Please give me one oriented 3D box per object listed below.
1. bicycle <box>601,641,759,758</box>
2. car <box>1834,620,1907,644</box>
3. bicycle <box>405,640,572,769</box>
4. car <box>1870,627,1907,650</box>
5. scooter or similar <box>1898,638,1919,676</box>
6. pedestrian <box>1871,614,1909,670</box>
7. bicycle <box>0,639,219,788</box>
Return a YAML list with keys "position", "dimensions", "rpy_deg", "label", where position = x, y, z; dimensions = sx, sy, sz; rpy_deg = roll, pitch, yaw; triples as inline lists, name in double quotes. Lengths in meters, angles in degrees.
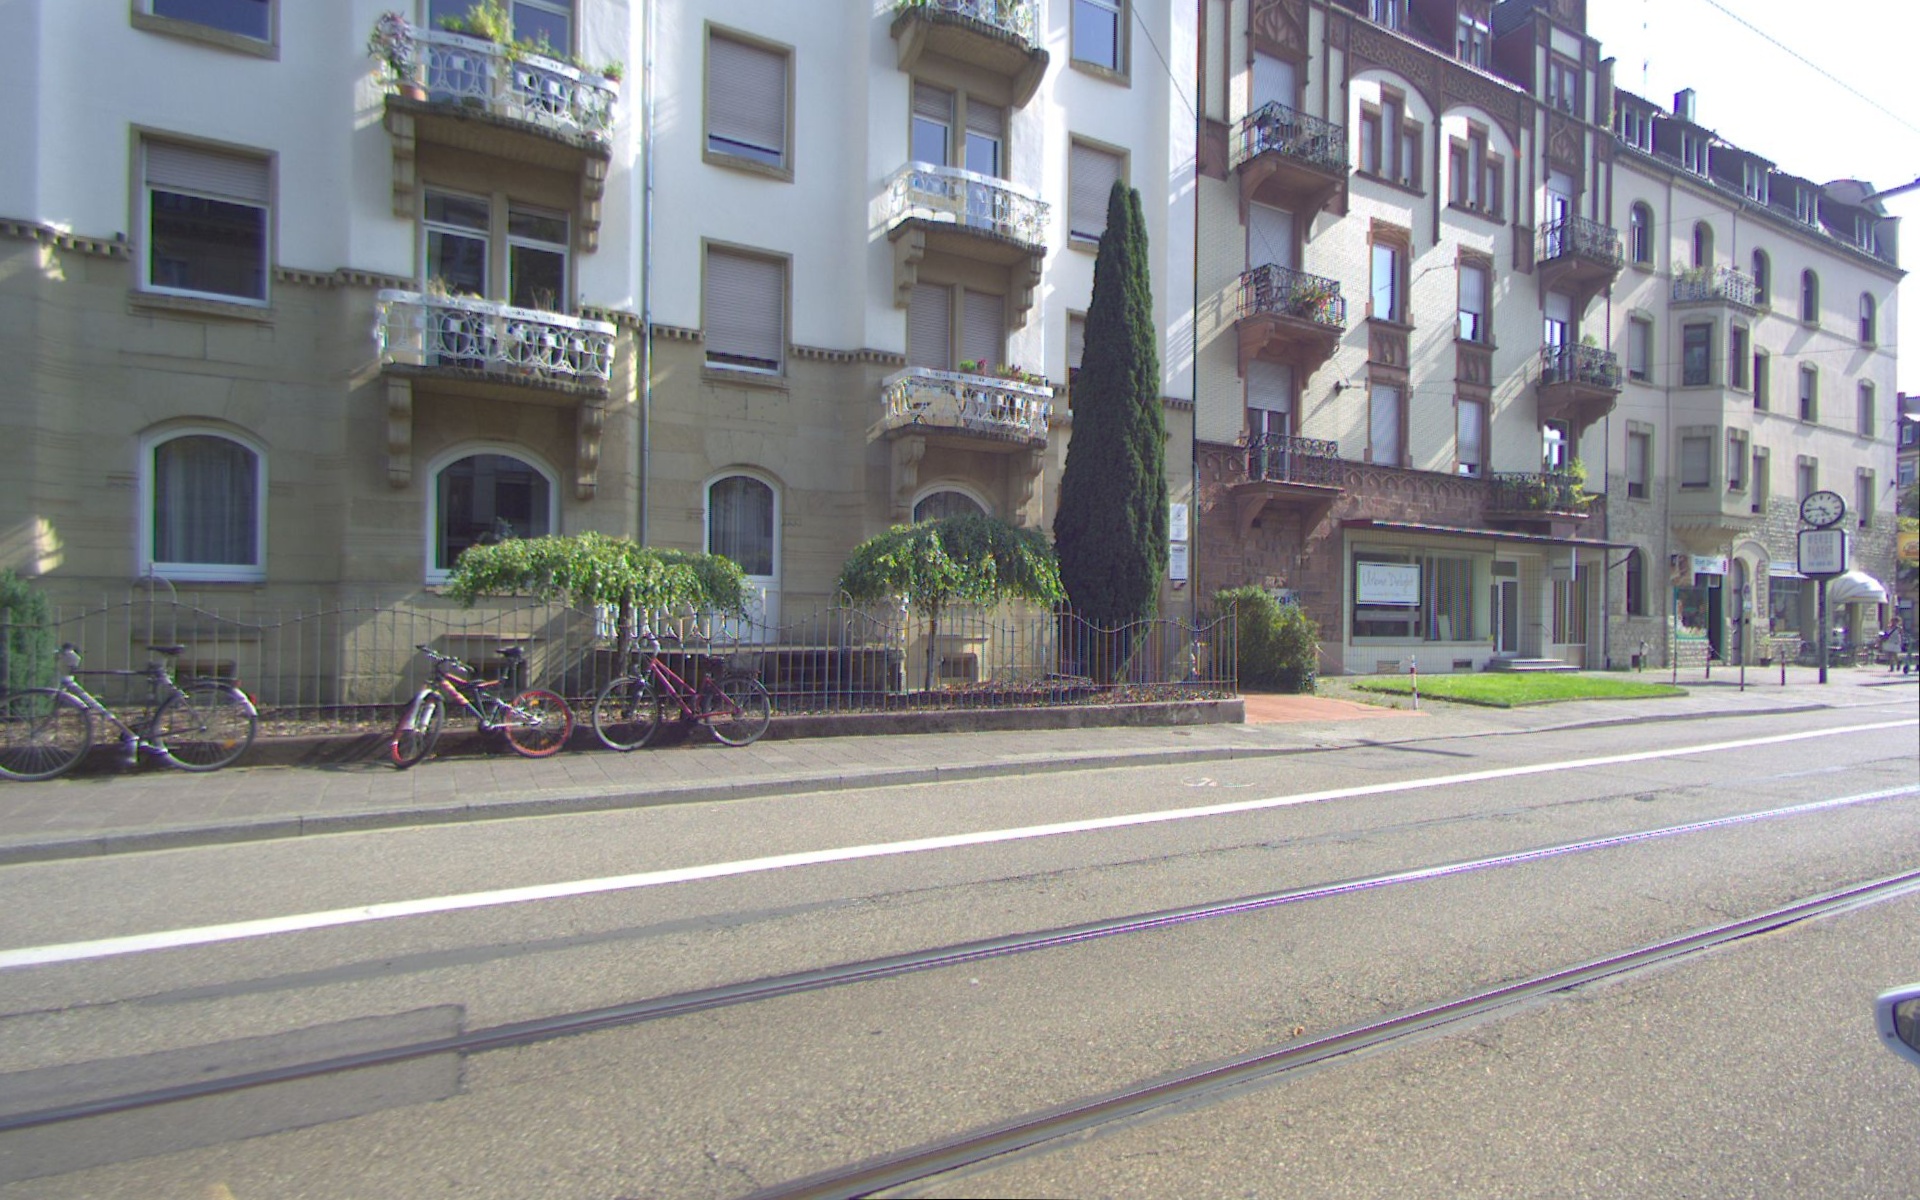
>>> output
- position: [-2.798, 0.966, 10.090]
  dimensions: [1.470, 1.102, 0.368]
  rpy_deg: [1, -1, -30]
  label: "bicycle"
- position: [72.622, 2.513, 80.189]
  dimensions: [1.963, 1.852, 3.996]
  rpy_deg: [1, -1, -7]
  label: "car"
- position: [-4.282, 0.922, 9.148]
  dimensions: [1.339, 1.102, 0.368]
  rpy_deg: [1, -1, -30]
  label: "bicycle"
- position: [64.755, 2.653, 70.062]
  dimensions: [1.844, 1.486, 4.759]
  rpy_deg: [0, -1, 43]
  label: "car"
- position: [31.341, 1.873, 32.958]
  dimensions: [0.359, 1.213, 1.035]
  rpy_deg: [1, -1, 15]
  label: "scooter or similar"
- position: [31.831, 1.440, 34.375]
  dimensions: [0.821, 1.884, 0.770]
  rpy_deg: [1, -1, -31]
  label: "pedestrian"
- position: [-6.731, 0.862, 7.952]
  dimensions: [1.339, 1.102, 0.368]
  rpy_deg: [1, -1, -30]
  label: "bicycle"
